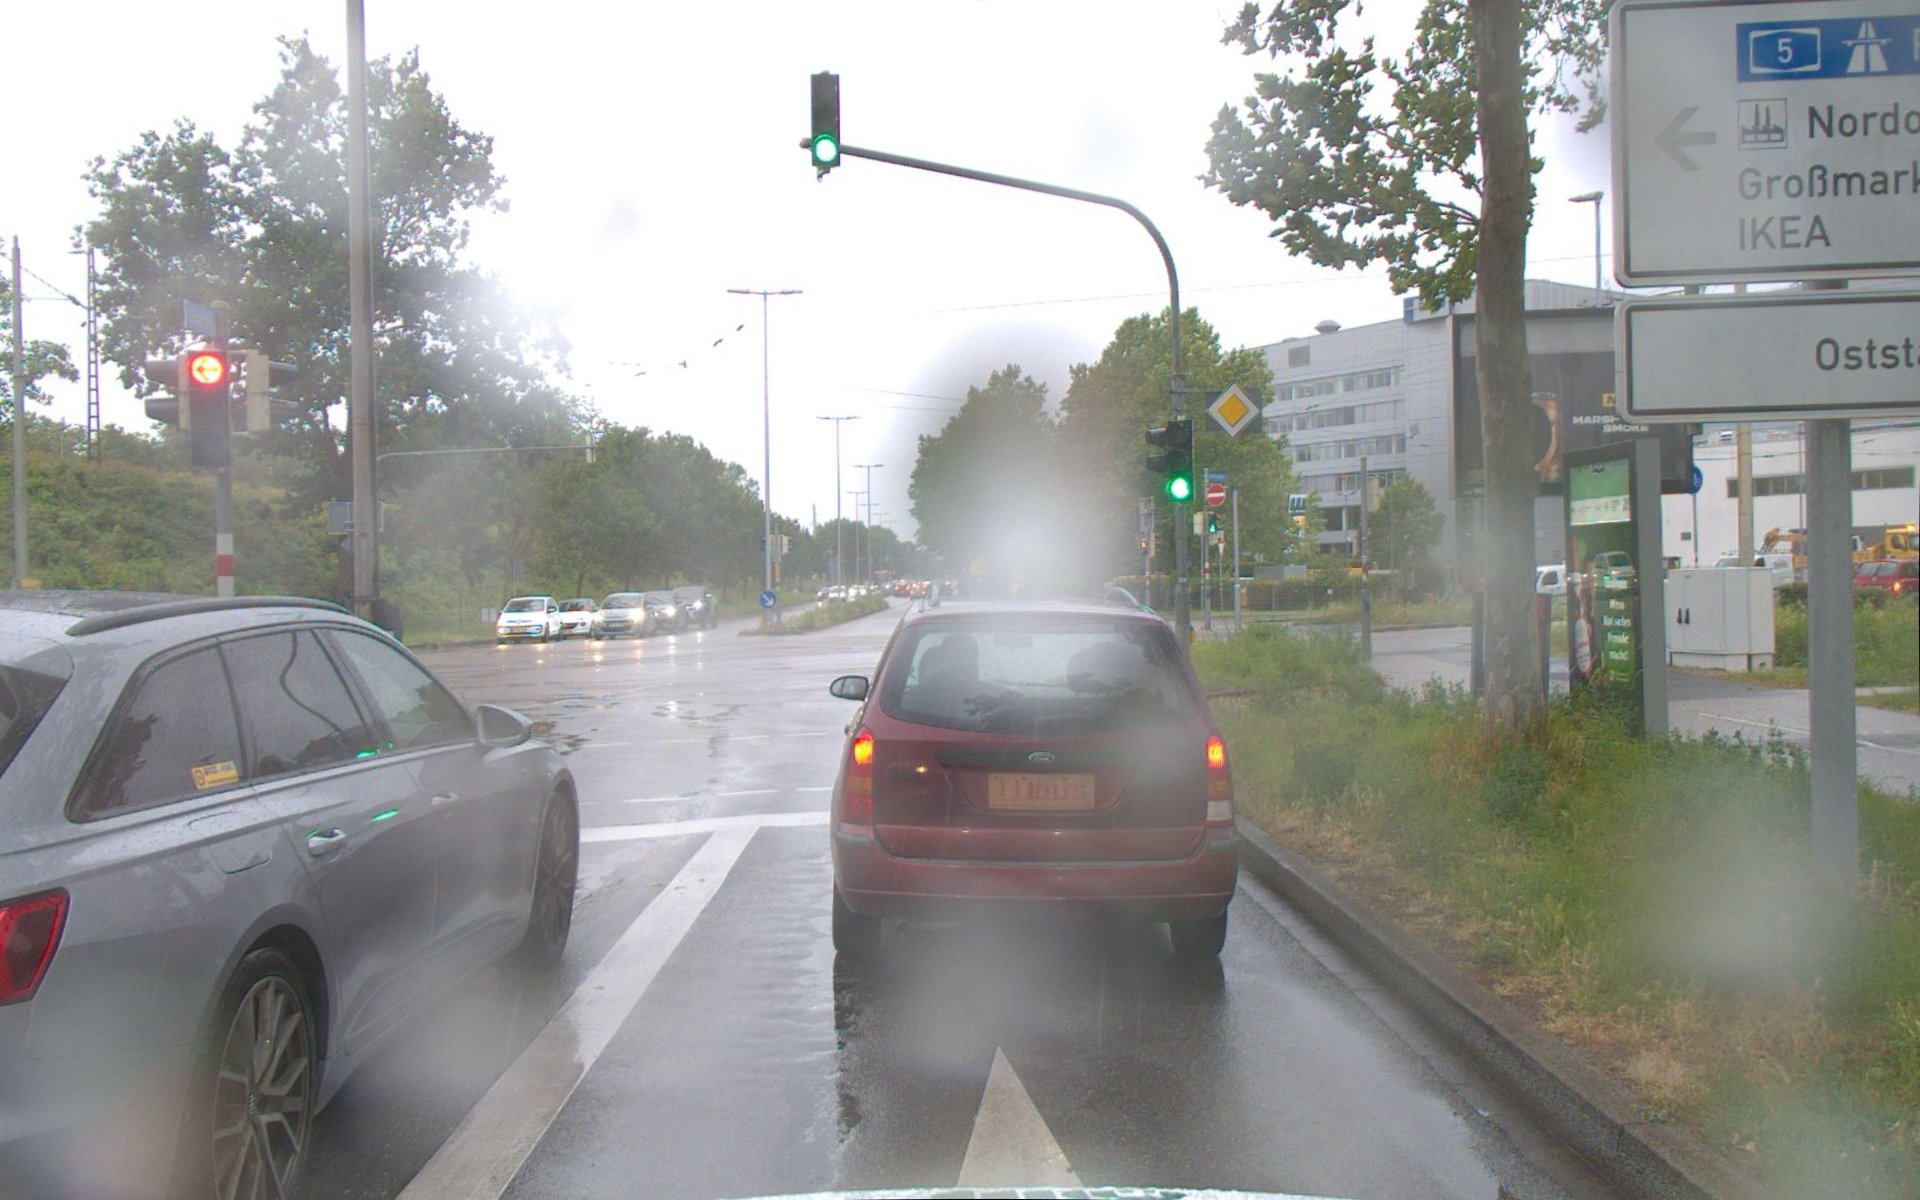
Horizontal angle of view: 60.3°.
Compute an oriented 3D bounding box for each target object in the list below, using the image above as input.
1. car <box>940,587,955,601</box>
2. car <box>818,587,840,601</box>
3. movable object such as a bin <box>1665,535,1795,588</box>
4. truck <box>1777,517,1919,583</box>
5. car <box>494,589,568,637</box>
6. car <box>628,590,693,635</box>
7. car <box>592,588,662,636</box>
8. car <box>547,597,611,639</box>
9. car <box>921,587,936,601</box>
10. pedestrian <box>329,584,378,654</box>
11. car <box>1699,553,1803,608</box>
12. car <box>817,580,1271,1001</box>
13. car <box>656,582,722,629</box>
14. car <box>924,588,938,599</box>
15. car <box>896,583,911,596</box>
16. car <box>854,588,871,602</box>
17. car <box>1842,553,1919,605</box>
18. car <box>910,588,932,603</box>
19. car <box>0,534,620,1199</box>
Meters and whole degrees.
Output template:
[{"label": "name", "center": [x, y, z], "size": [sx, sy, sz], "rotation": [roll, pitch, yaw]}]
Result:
[{"label": "car", "center": [-1.532, -0.736, 202.782], "size": [1.636, 1.554, 3.846], "rotation": [-1, 0, 1]}, {"label": "car", "center": [-14.975, -0.699, 189.020], "size": [2.050, 1.554, 4.193], "rotation": [-1, 0, 2]}, {"label": "movable object such as a bin", "center": [48.340, -2.395, 103.977], "size": [3.292, 3.048, 6.634], "rotation": [-2, 0, -36]}, {"label": "truck", "center": [52.794, -2.922, 97.366], "size": [3.292, 3.568, 7.789], "rotation": [-2, 0, -36]}, {"label": "car", "center": [-14.170, 0.406, 54.825], "size": [1.605, 1.478, 3.785], "rotation": [-2, 1, -3]}, {"label": "car", "center": [-11.369, 0.471, 63.091], "size": [1.727, 1.614, 4.811], "rotation": [-2, 0, -2]}, {"label": "car", "center": [-11.236, 0.376, 55.975], "size": [1.605, 1.499, 3.964], "rotation": [-2, 1, -1]}, {"label": "car", "center": [-14.072, 0.642, 61.213], "size": [1.558, 1.428, 3.822], "rotation": [-2, 1, -2]}, {"label": "car", "center": [-3.701, -0.696, 194.143], "size": [1.663, 1.554, 3.846], "rotation": [-1, 0, 0]}, {"label": "pedestrian", "center": [-16.658, 0.512, 45.436], "size": [1.083, 1.879, 1.127], "rotation": [-1, 0, -13]}, {"label": "car", "center": [32.437, -0.818, 67.781], "size": [4.641, 2.162, 1.973], "rotation": [-1, 0, -38]}, {"label": "car", "center": [0.251, 0.671, 7.799], "size": [1.609, 1.490, 3.731], "rotation": [1, 0, -2]}, {"label": "car", "center": [-11.617, 0.200, 71.219], "size": [2.024, 1.851, 5.539], "rotation": [-2, 1, -2]}, {"label": "car", "center": [-4.024, -0.904, 230.426], "size": [1.636, 1.554, 3.848], "rotation": [-1, 0, 4]}, {"label": "car", "center": [-6.945, -1.299, 202.520], "size": [1.663, 1.554, 3.846], "rotation": [-1, 0, 1]}, {"label": "car", "center": [-12.197, -0.671, 207.882], "size": [1.923, 1.732, 4.283], "rotation": [-2, 1, -1]}, {"label": "car", "center": [28.530, -0.628, 50.060], "size": [3.768, 1.517, 1.660], "rotation": [0, 0, -33]}, {"label": "car", "center": [-4.205, -0.533, 178.586], "size": [2.103, 1.554, 4.193], "rotation": [-1, 0, 1]}, {"label": "car", "center": [-2.303, 0.665, 4.838], "size": [1.733, 1.601, 4.819], "rotation": [1, 0, -2]}]
